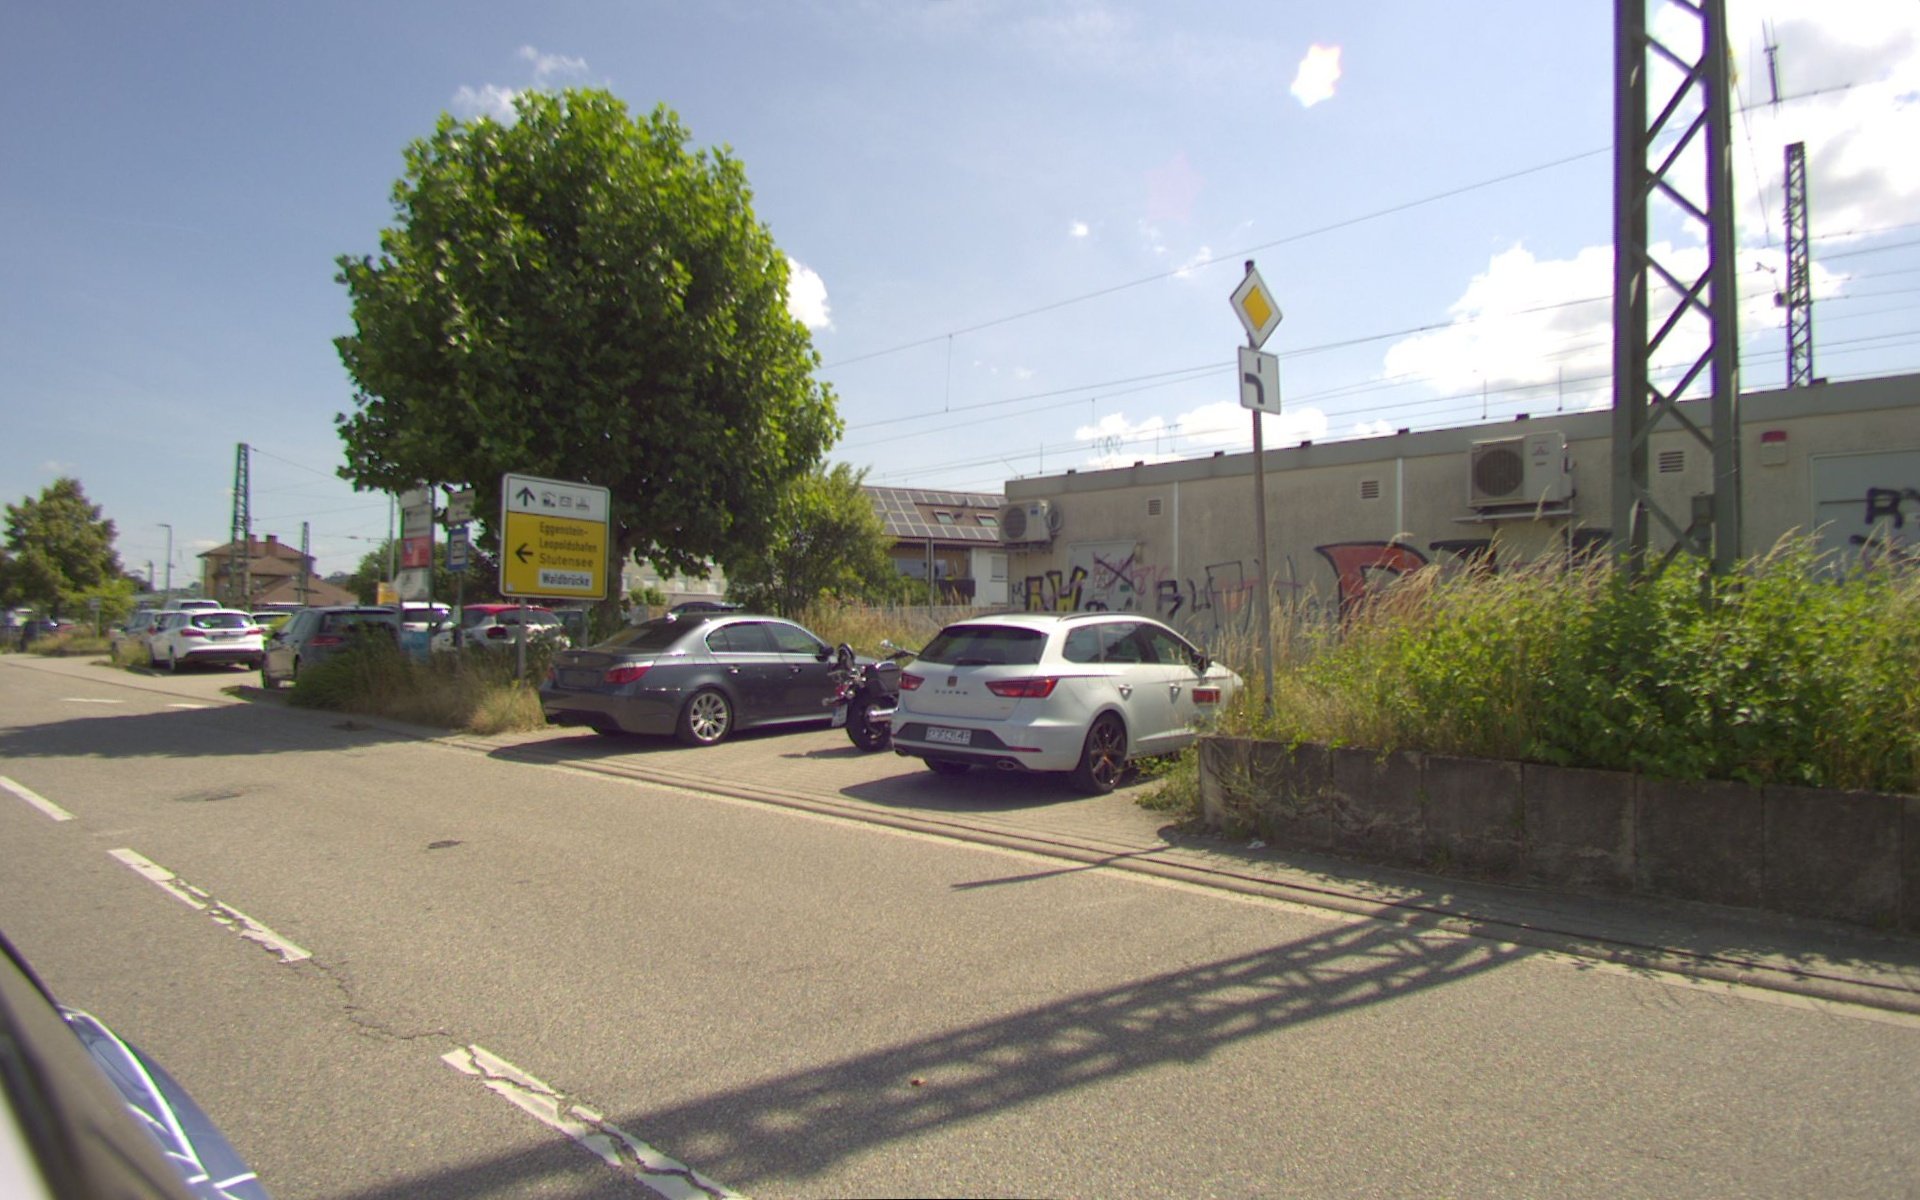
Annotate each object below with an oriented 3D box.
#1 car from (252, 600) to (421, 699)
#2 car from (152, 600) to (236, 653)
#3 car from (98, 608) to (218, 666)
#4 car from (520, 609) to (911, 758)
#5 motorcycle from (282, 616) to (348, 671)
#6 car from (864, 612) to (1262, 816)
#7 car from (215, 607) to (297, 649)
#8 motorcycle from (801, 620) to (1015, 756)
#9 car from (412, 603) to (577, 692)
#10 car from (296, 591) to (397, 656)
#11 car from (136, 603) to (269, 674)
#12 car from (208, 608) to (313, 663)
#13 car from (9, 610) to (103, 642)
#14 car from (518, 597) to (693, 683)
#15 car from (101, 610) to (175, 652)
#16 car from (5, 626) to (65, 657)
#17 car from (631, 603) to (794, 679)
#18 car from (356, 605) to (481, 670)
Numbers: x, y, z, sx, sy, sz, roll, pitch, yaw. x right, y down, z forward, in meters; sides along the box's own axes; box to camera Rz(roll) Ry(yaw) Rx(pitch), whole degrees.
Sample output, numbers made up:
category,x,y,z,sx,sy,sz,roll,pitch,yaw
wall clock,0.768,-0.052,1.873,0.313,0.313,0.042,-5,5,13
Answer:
category,x,y,z,sx,sy,sz,roll,pitch,yaw
car,-11.032,0.830,17.786,1.665,1.542,4.065,3,-3,-44
car,-28.423,0.988,37.536,3.837,1.847,1.926,-1,-3,45
car,-22.847,1.033,28.793,3.955,1.556,1.773,-1,-2,38
car,-2.655,0.879,11.987,1.784,1.421,4.386,-1,-2,36
motorcycle,-17.204,1.131,26.946,3.214,1.383,0.729,-1,-3,44
car,1.143,0.818,9.179,1.784,1.412,4.035,-1,-1,37
car,-28.370,1.131,40.738,4.274,1.621,1.926,-1,-3,45
motorcycle,-0.468,0.886,10.964,0.717,1.291,2.697,-1,-2,38
car,-9.012,0.884,19.485,1.770,1.548,3.581,3,-3,-44
car,-20.259,0.788,33.369,4.000,2.029,1.825,-1,-3,43
car,-18.562,0.918,24.747,4.261,1.576,1.784,-1,-3,42
car,-21.380,1.071,30.880,4.263,1.576,1.780,-1,-3,44
car,-48.094,1.407,53.885,1.646,1.604,3.399,2,-1,34
car,-7.621,0.821,21.575,1.970,1.650,4.089,3,-3,-44
car,-34.402,1.295,42.339,3.998,1.698,1.710,-1,-3,41
car,-43.335,1.925,47.381,3.998,1.360,1.587,-1,-2,41
car,-5.998,0.957,24.290,4.088,1.650,1.971,-1,-3,45
car,-15.200,1.007,28.324,1.970,1.670,4.265,2,-2,-44
